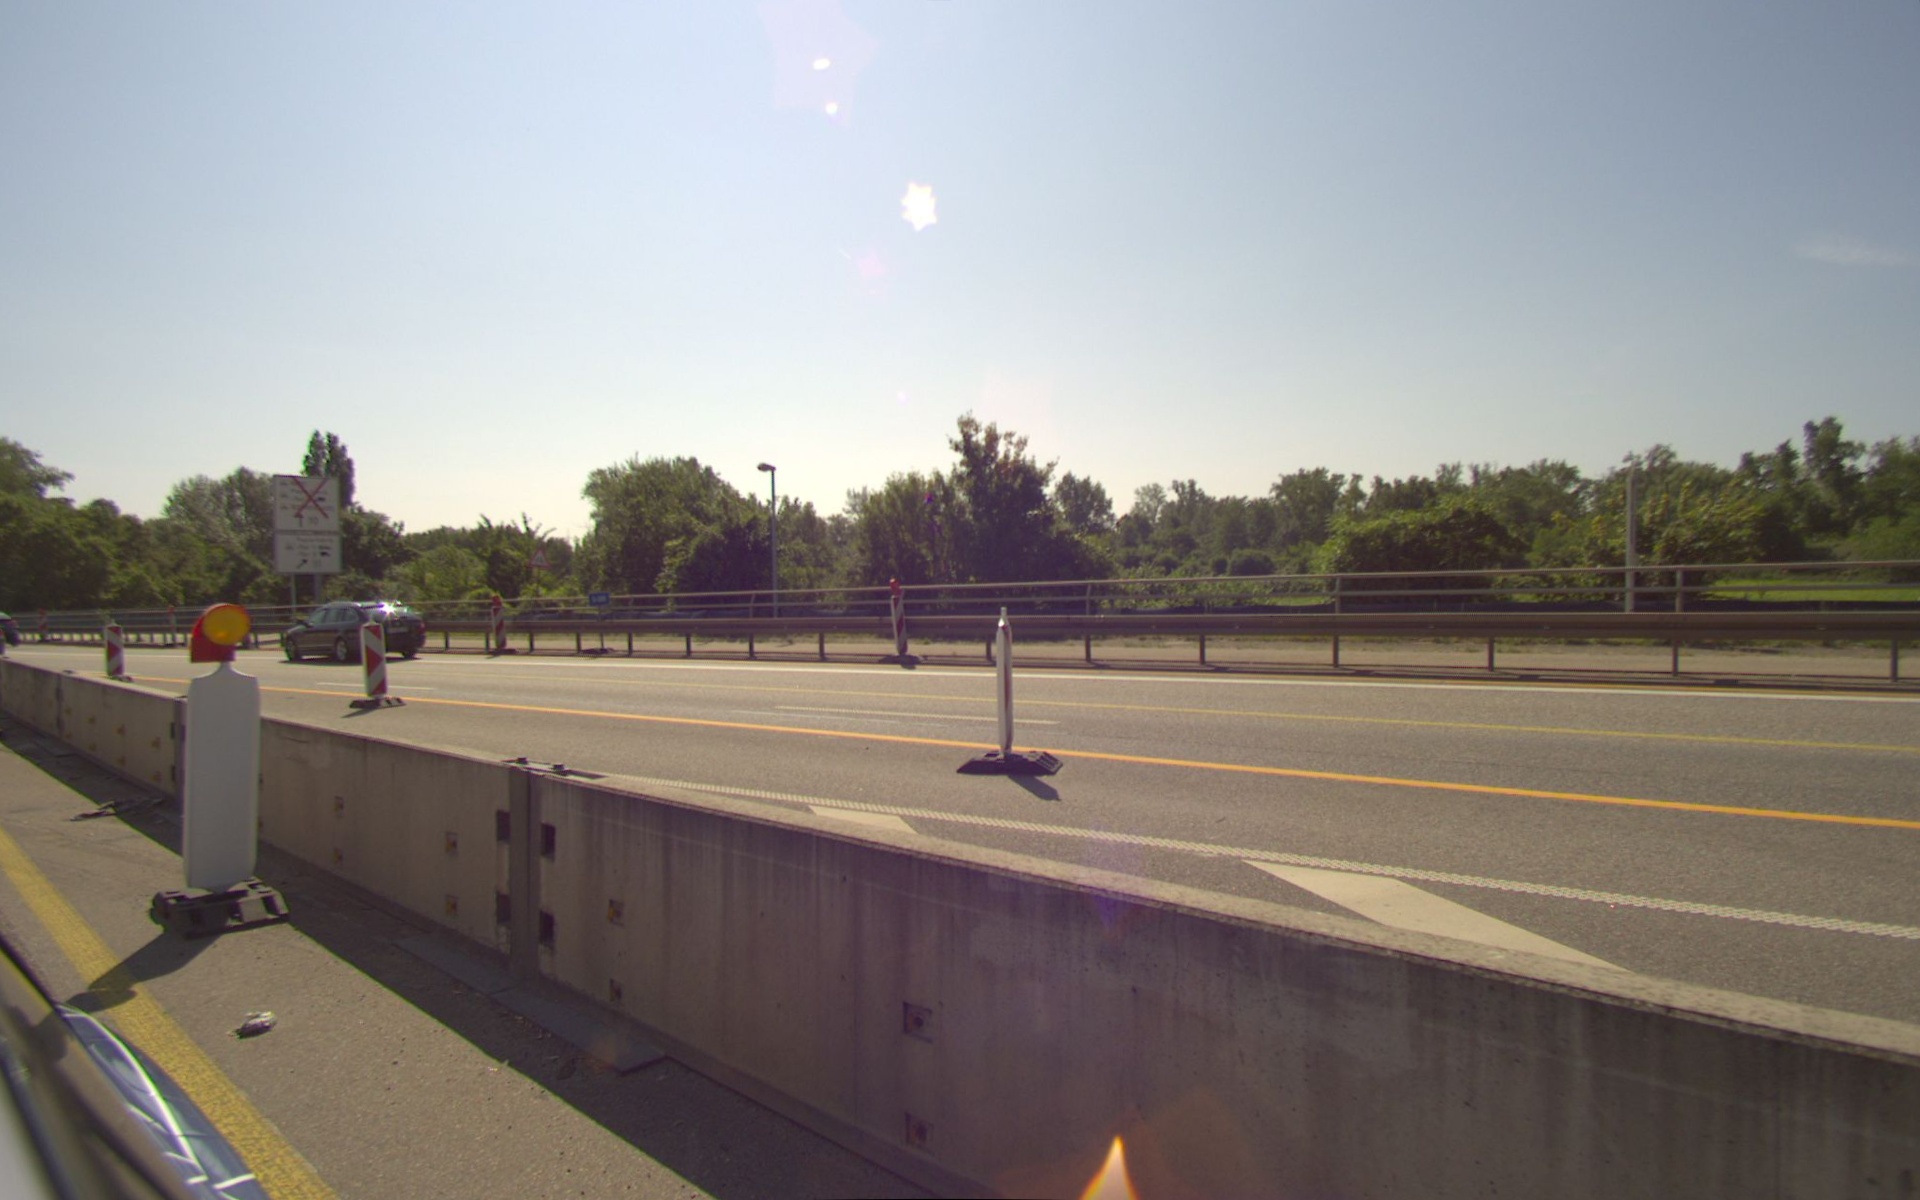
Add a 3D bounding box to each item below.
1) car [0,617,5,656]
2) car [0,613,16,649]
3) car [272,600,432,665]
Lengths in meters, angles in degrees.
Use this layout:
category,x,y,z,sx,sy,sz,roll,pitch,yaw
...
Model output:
category,x,y,z,sx,sy,sz,roll,pitch,yaw
car,-36.322,1.371,36.639,4.263,1.386,1.675,-1,1,35
car,-43.085,1.387,44.054,4.456,1.519,1.917,-1,1,33
car,-15.539,0.792,25.752,4.987,1.453,1.652,-1,1,36
